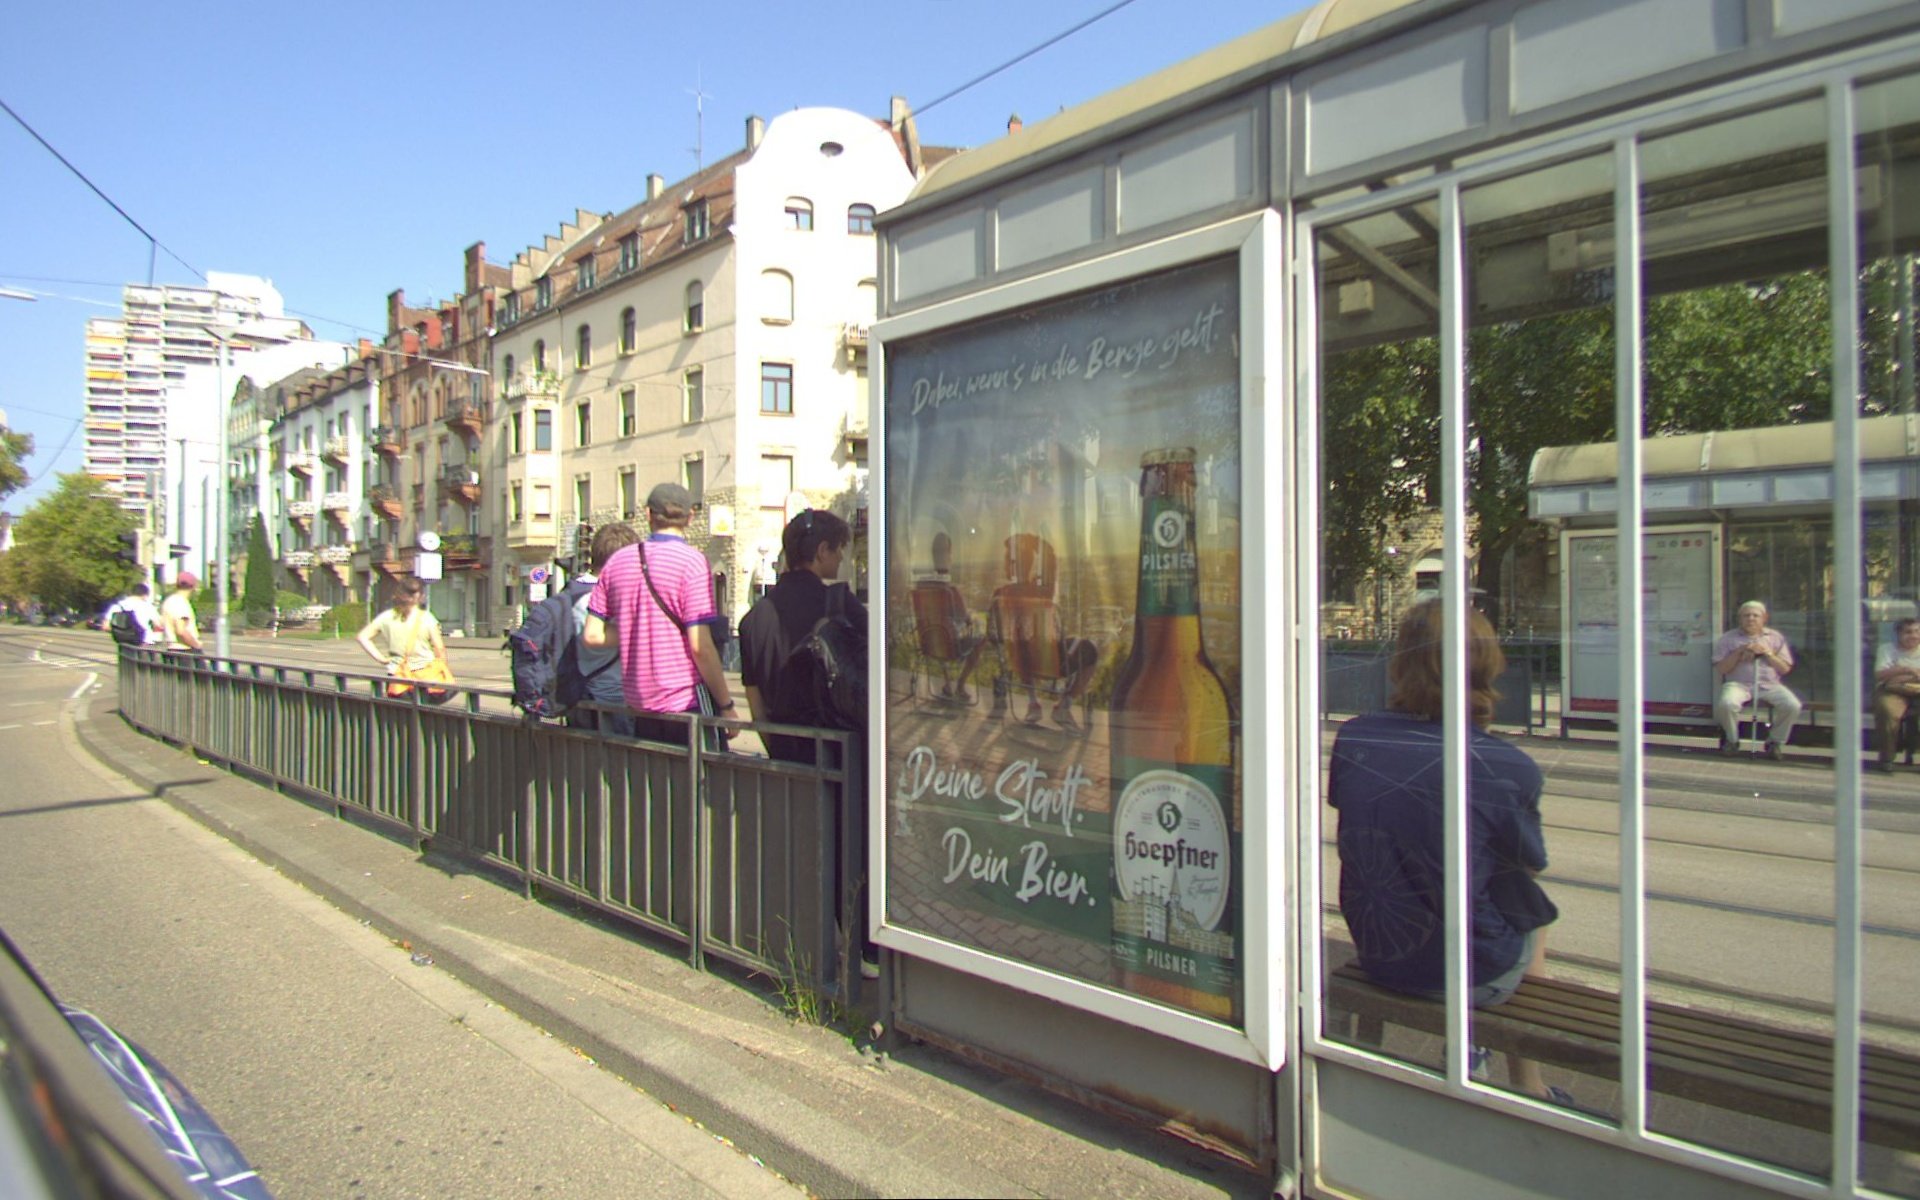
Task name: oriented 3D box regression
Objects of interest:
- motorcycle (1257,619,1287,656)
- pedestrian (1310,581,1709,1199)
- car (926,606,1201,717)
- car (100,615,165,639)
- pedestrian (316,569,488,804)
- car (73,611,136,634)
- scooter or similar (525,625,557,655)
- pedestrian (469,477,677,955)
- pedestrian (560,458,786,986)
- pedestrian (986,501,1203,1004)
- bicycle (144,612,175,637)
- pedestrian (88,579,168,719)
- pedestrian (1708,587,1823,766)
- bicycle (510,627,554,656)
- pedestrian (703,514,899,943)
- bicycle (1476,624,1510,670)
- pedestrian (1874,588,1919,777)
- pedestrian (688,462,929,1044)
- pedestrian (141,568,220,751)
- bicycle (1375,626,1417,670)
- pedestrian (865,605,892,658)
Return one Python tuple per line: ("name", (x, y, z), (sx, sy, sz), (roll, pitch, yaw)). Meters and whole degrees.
("motorcycle", (10.636, 1.271, 34.515), (0.674, 1.186, 1.867), (0, 0, 27))
("pedestrian", (1.219, 0.649, 2.235), (0.622, 1.350, 0.679), (-1, -2, 42))
("car", (1.675, 0.963, 17.458), (4.483, 1.663, 1.971), (-1, -2, 44))
("car", (-71.989, 2.312, 88.064), (1.982, 2.029, 3.979), (0, -1, 16))
("pedestrian", (-4.256, 0.622, 7.739), (0.863, 1.667, 0.807), (-1, -1, 28))
("car", (-78.630, 2.052, 93.099), (1.982, 2.029, 3.979), (0, -1, 16))
("scooter or similar", (-16.654, 1.587, 40.257), (1.081, 1.167, 0.441), (0, -1, 6))
("pedestrian", (-1.681, 0.457, 4.399), (0.634, 1.862, 0.629), (-1, -2, 44))
("pedestrian", (-1.138, 0.434, 4.028), (0.634, 1.862, 0.629), (-1, -2, 44))
("pedestrian", (0.518, 0.532, 3.929), (0.607, 1.734, 0.582), (-1, -2, 44))
("bicycle", (-61.786, 1.843, 78.102), (3.549, 1.872, 1.003), (-1, 1, 37))
("pedestrian", (-11.079, 0.643, 13.476), (0.720, 1.783, 0.739), (-2, -2, -45))
("pedestrian", (7.019, 0.639, 8.823), (0.718, 1.467, 0.669), (-1, -2, 43))
("bicycle", (-16.721, 1.600, 39.488), (1.888, 1.112, 0.540), (-1, -1, 29))
("pedestrian", (-0.722, 0.532, 4.615), (0.634, 1.761, 0.629), (-1, -2, 44))
("bicycle", (16.933, 1.464, 32.149), (0.864, 1.381, 2.280), (-1, -1, 30))
("pedestrian", (7.791, 0.642, 8.066), (0.718, 1.467, 0.784), (-1, -2, 43))
("pedestrian", (-0.526, 0.470, 3.524), (0.607, 1.777, 0.582), (-1, -2, 44))
("pedestrian", (-8.071, 0.593, 10.482), (0.552, 1.816, 0.676), (1, -2, -44))
("bicycle", (14.232, 1.535, 33.098), (0.859, 1.381, 2.293), (0, -1, 13))
("pedestrian", (-2.925, 1.119, 36.475), (0.672, 1.882, 0.726), (-1, -2, 38))
